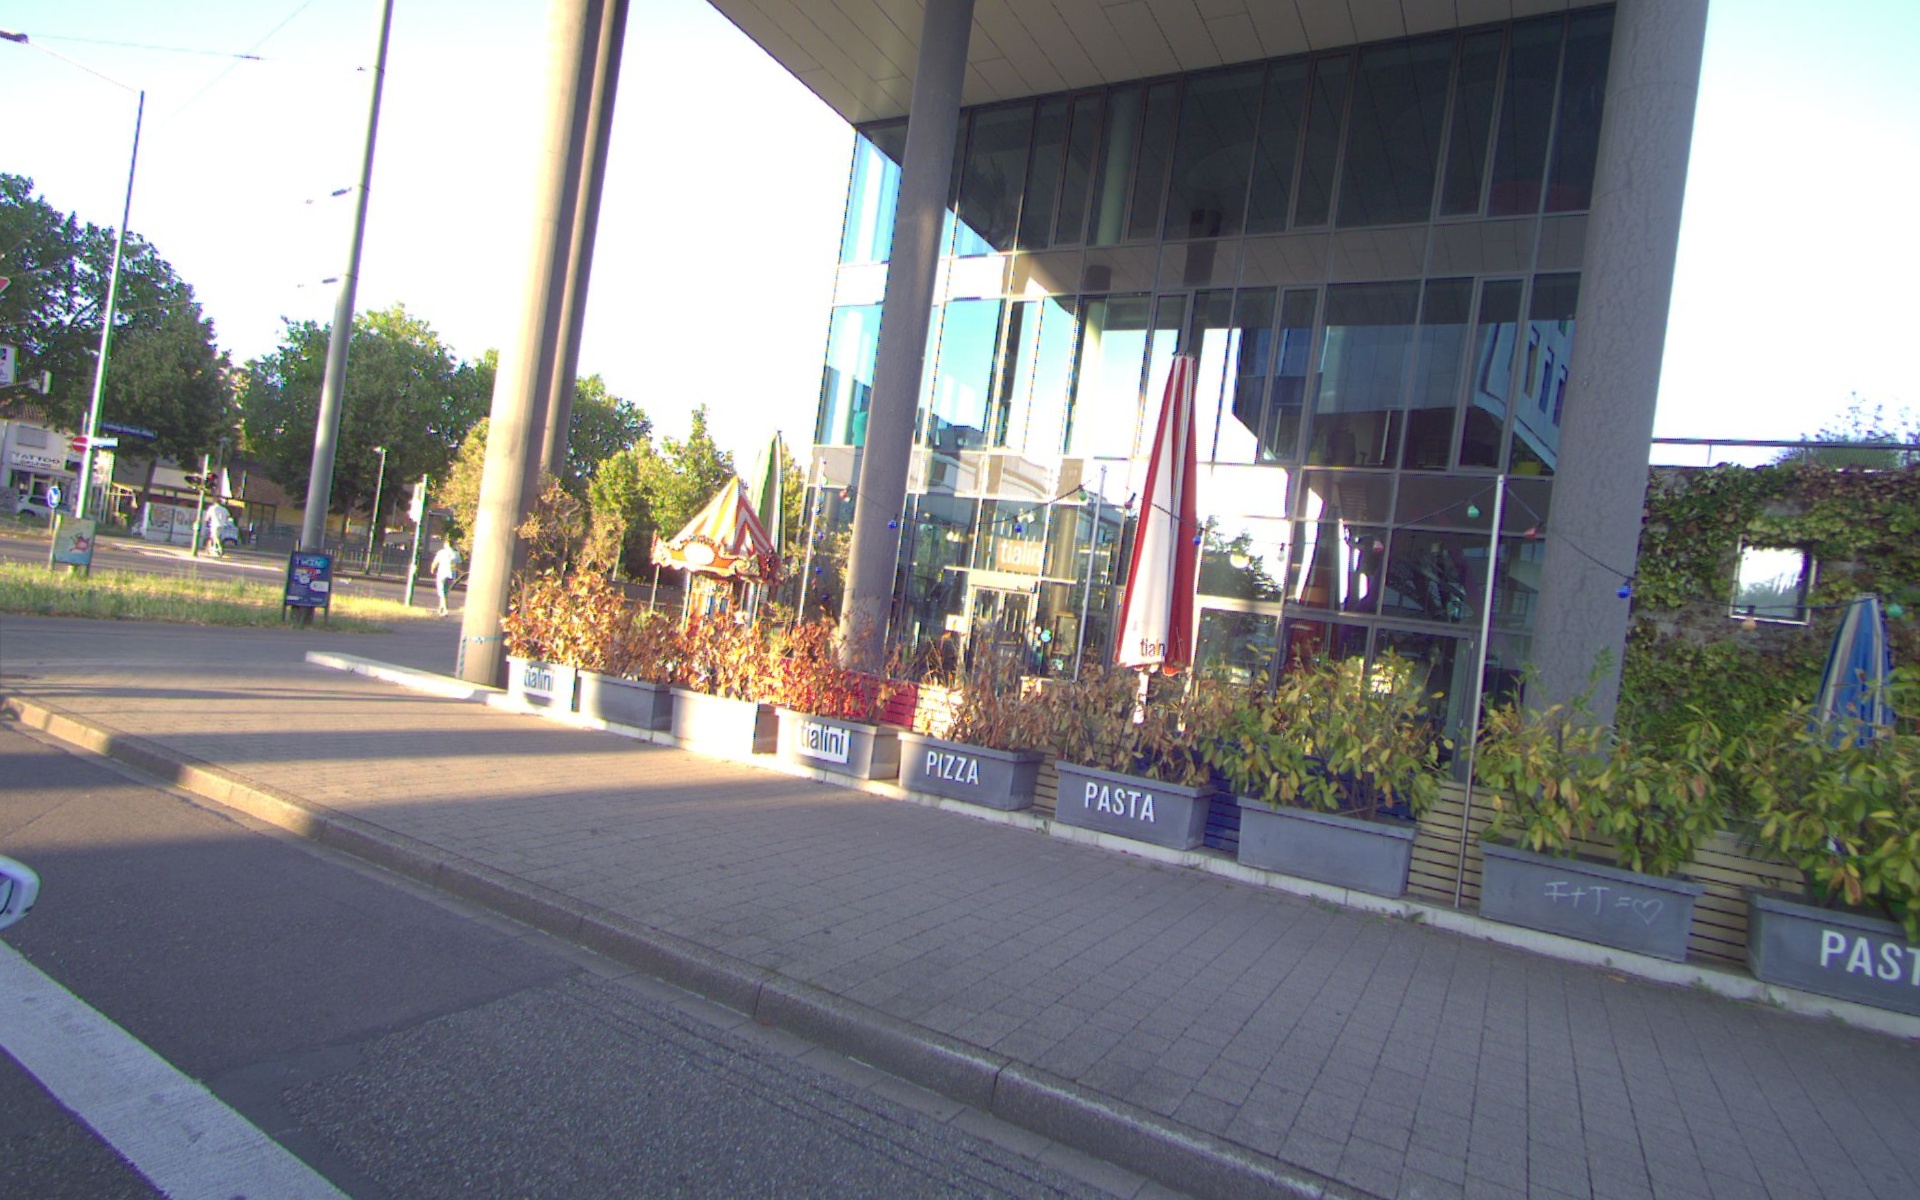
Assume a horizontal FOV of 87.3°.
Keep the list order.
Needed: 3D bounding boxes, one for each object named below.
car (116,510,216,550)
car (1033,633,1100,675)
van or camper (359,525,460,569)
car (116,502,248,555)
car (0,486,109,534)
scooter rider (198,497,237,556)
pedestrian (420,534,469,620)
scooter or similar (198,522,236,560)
[{"bbox_3d":[-47.755,-4.207,60.598,1.968,1.595,4.236,7,-2,34],"label":"car"},{"bbox_3d":[5.950,3.034,55.826,1.826,1.849,4.390,10,0,31],"label":"car"},{"bbox_3d":[-43.930,-4.177,80.425,2.229,2.438,6.569,7,-2,36],"label":"van or camper"},{"bbox_3d":[-37.374,-3.395,48.437,1.829,1.748,4.547,7,-2,28],"label":"car"},{"bbox_3d":[-50.537,-4.975,56.078,1.968,1.868,4.236,7,-2,34],"label":"car"},{"bbox_3d":[-25.064,-2.473,33.964,0.658,1.876,0.703,7,-1,31],"label":"scooter rider"},{"bbox_3d":[-11.669,-0.520,22.767,0.755,1.812,0.796,8,0,-28],"label":"pedestrian"},{"bbox_3d":[-25.014,-1.992,33.877,1.222,1.103,0.511,7,-1,32],"label":"scooter or similar"}]
